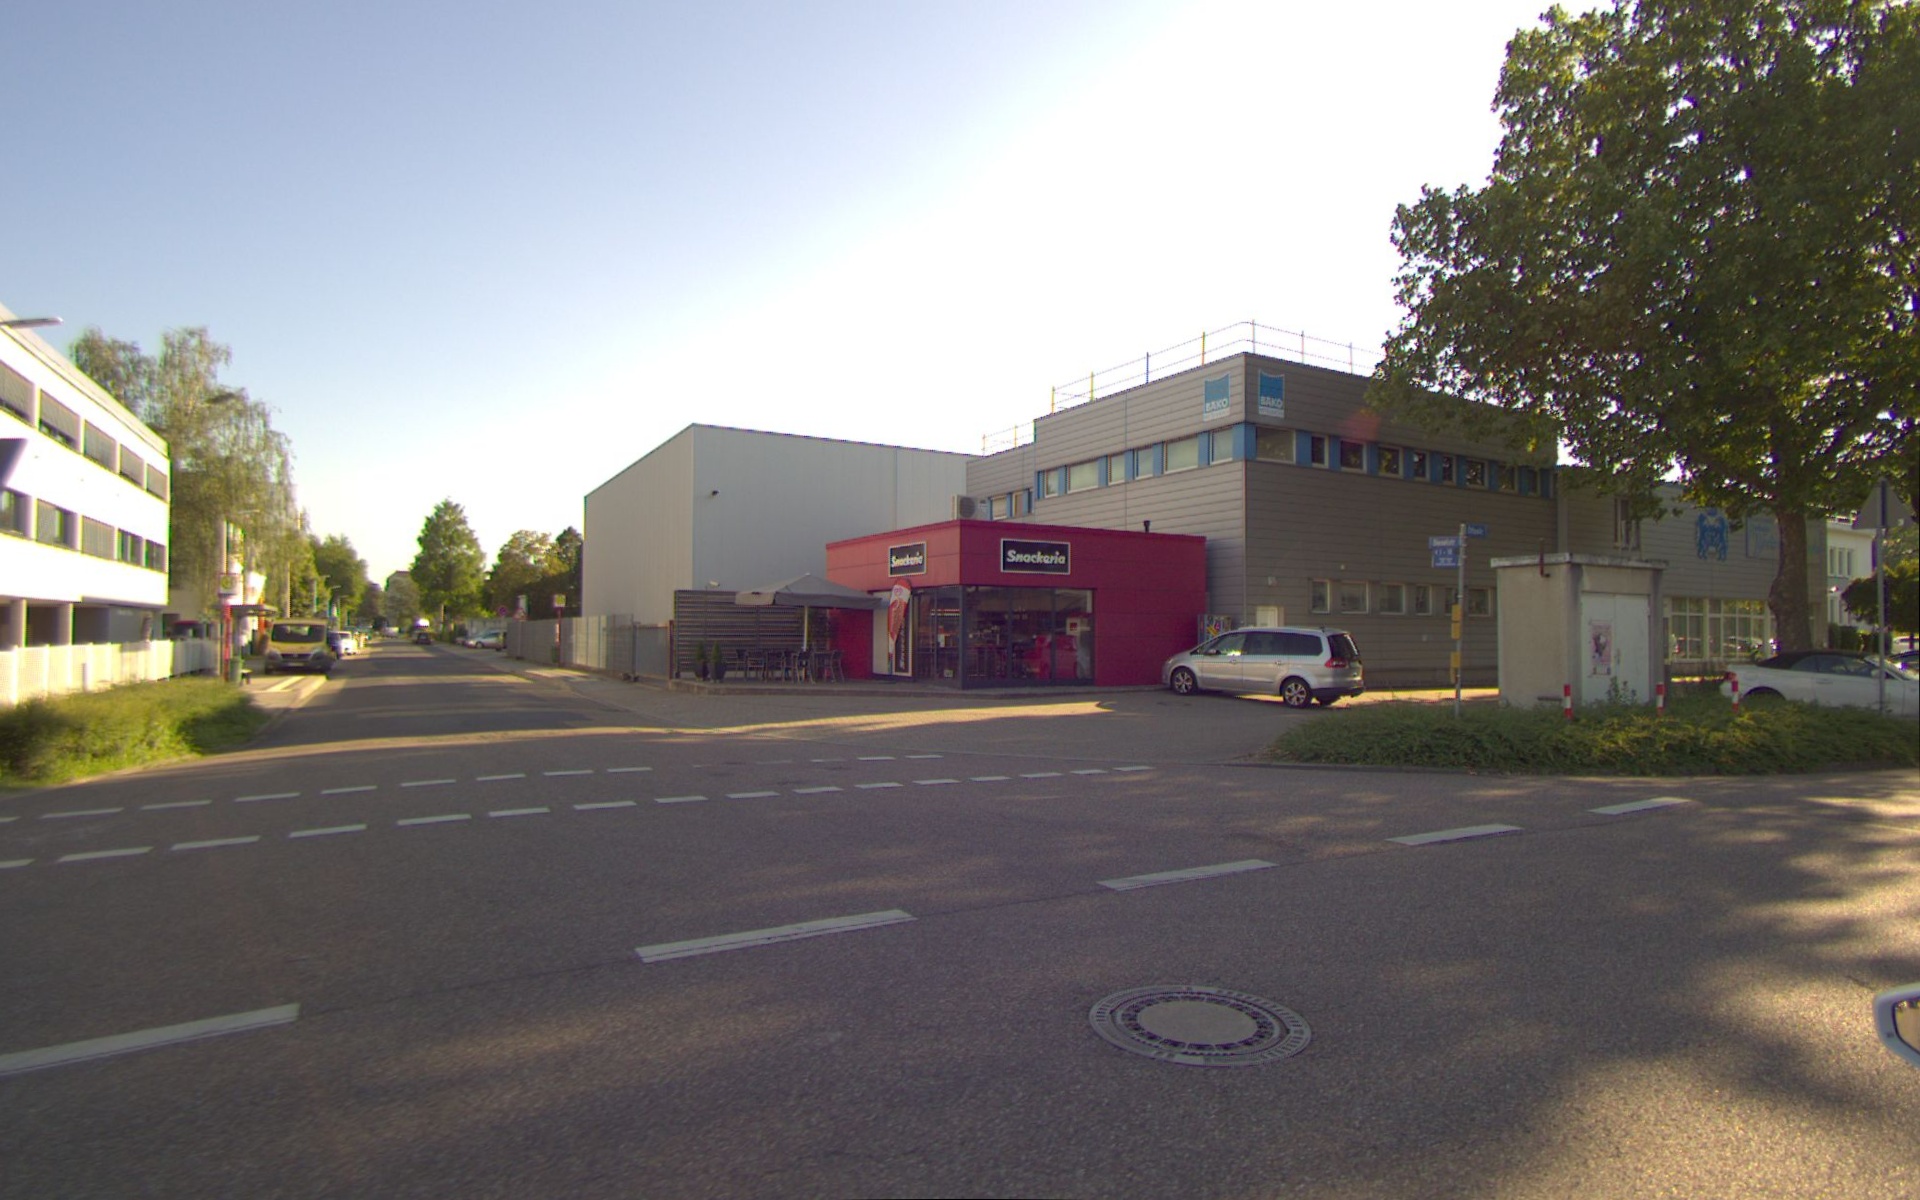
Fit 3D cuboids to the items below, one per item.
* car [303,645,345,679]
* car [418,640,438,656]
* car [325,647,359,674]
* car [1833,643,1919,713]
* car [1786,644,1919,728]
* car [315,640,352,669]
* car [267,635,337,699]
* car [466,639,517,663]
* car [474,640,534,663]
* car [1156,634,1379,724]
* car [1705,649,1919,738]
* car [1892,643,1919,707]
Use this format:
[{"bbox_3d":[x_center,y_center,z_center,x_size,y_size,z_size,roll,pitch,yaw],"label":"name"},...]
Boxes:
[{"bbox_3d":[-39.109,3.772,61.718,2.071,1.795,4.915,1,-1,-33],"label":"car"},{"bbox_3d":[-62.223,5.603,117.480,1.976,1.795,3.969,1,-1,-29],"label":"car"},{"bbox_3d":[-47.134,4.595,76.567,2.071,1.795,4.915,1,-1,-33],"label":"car"},{"bbox_3d":[22.784,1.800,22.580,1.977,1.537,4.392,1,-1,-31],"label":"car"},{"bbox_3d":[19.269,1.702,19.679,1.977,1.537,4.392,1,-1,-31],"label":"car"},{"bbox_3d":[-44.189,3.777,70.775,2.071,1.795,4.915,1,-1,-33],"label":"car"},{"bbox_3d":[-26.624,2.637,40.707,2.220,2.291,5.027,1,-1,-33],"label":"car"},{"bbox_3d":[-42.260,4.564,90.631,3.954,2.040,1.983,1,-1,-31],"label":"car"},{"bbox_3d":[-35.718,4.025,78.646,3.962,1.673,1.980,1,-1,-36],"label":"car"},{"bbox_3d":[7.078,1.728,23.409,4.581,1.764,1.988,0,-1,44],"label":"car"},{"bbox_3d":[16.946,1.711,18.856,1.980,1.421,4.386,1,-1,-35],"label":"car"},{"bbox_3d":[25.060,1.850,23.549,1.979,1.537,4.389,1,-1,-33],"label":"car"}]
